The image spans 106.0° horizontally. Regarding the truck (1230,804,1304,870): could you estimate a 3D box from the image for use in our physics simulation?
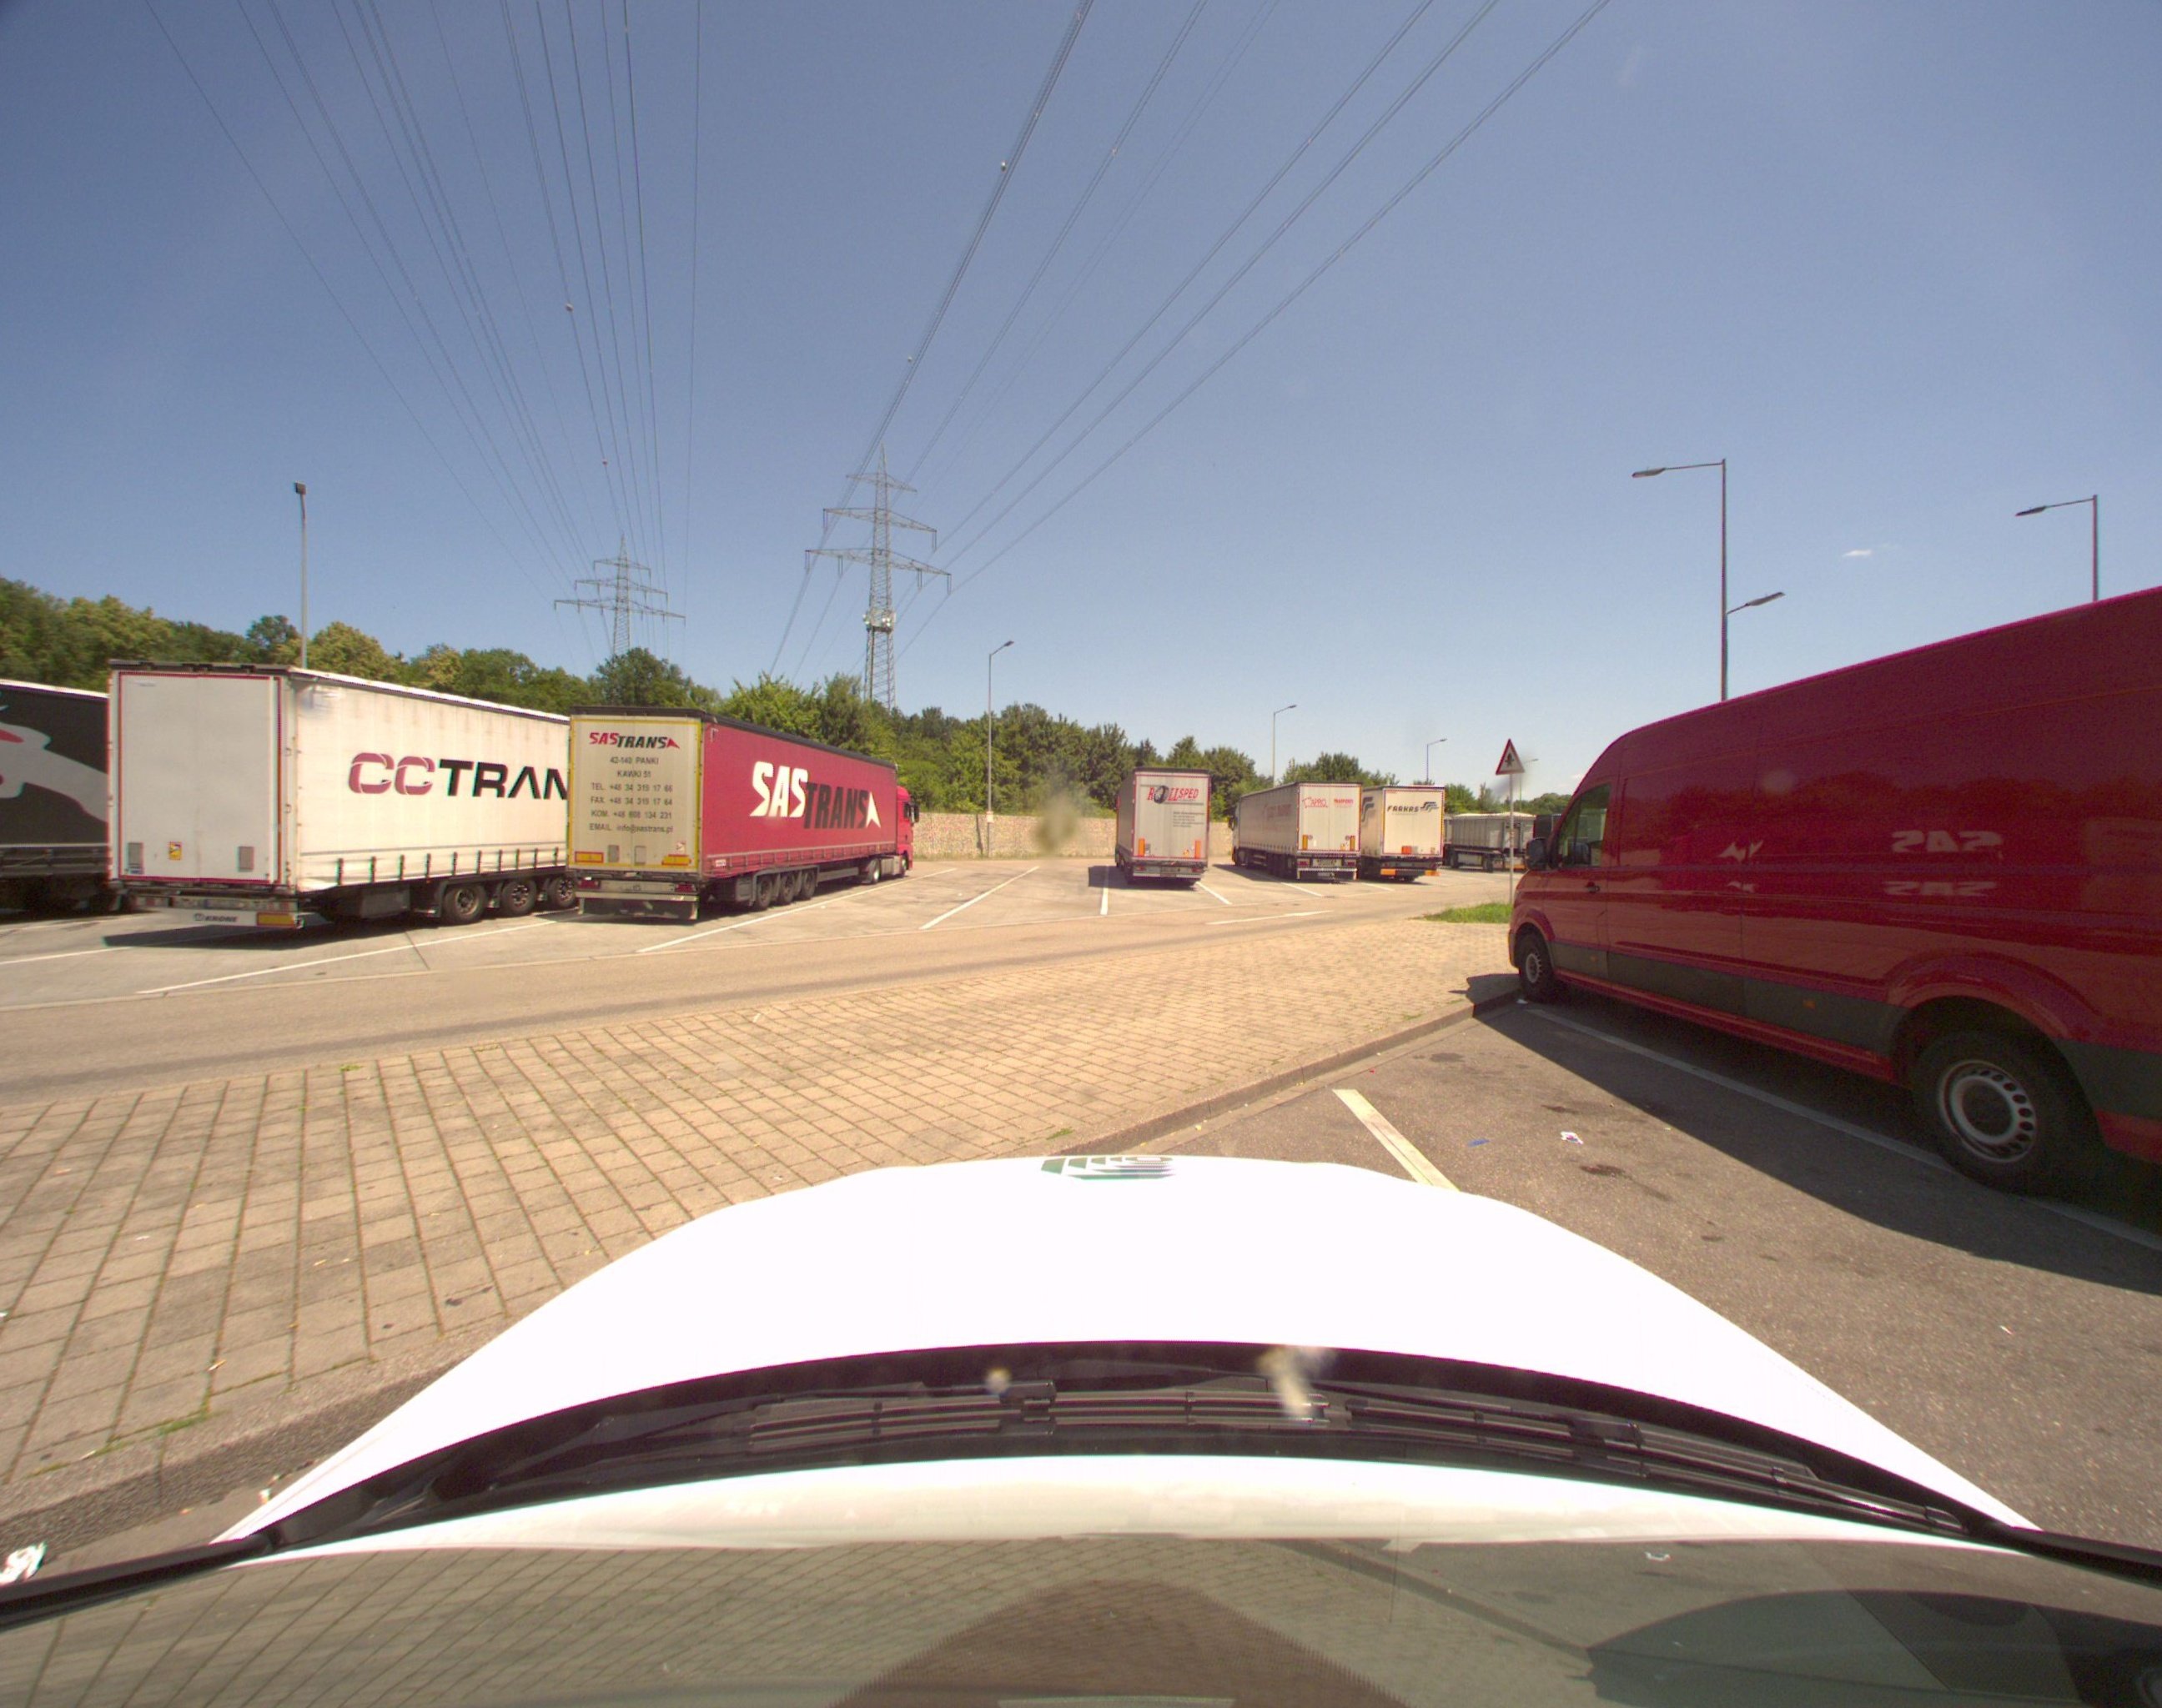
[{"bbox_3d":[10.168,-0.978,45.079,2.855,3.362,5.977,1,2,2],"label":"truck"}]

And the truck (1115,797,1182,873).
[{"bbox_3d":[3.129,-0.940,39.426,2.855,3.362,5.977,1,2,2],"label":"truck"}]

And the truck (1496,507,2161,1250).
[{"bbox_3d":[5.134,0.083,5.468,2.001,2.651,6.466,-1,0,6],"label":"truck"}]

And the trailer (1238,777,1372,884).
[{"bbox_3d":[9.970,-1.120,38.315,2.847,4.109,13.770,1,2,2],"label":"trailer"}]

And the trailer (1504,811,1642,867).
[{"bbox_3d":[38.210,-1.295,64.198,2.847,3.904,13.770,1,2,2],"label":"trailer"}]

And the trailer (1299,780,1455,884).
[{"bbox_3d":[13.599,-1.094,39.240,2.847,4.109,13.770,1,2,2],"label":"trailer"}]

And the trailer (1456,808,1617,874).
[{"bbox_3d":[28.408,-0.925,52.027,2.847,3.599,13.770,1,2,2],"label":"trailer"}]

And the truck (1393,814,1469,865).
[{"bbox_3d":[24.615,-1.082,57.612,2.855,3.362,5.977,1,2,2],"label":"truck"}]

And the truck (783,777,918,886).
[{"bbox_3d":[-7.841,-0.795,28.558,2.801,3.362,5.977,1,2,2],"label":"truck"}]

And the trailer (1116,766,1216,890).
[{"bbox_3d":[3.039,-1.049,33.224,2.848,3.971,13.767,1,2,1],"label":"trailer"}]

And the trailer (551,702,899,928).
[{"bbox_3d":[-8.055,-0.928,21.741,2.811,4.070,13.770,1,2,2],"label":"trailer"}]

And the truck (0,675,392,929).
[{"bbox_3d":[-18.558,-0.939,15.844,2.696,4.070,8.694,1,2,2],"label":"truck"}]

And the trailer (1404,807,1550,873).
[{"bbox_3d":[24.430,-0.994,51.515,2.847,3.599,13.770,1,2,2],"label":"trailer"}]

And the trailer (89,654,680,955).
[{"bbox_3d":[-12.169,-0.841,16.437,2.696,4.101,10.395,1,2,2],"label":"trailer"}]

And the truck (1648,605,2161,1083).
[{"bbox_3d":[7.993,-0.067,6.901,2.406,2.906,6.466,-1,0,6],"label":"truck"}]
